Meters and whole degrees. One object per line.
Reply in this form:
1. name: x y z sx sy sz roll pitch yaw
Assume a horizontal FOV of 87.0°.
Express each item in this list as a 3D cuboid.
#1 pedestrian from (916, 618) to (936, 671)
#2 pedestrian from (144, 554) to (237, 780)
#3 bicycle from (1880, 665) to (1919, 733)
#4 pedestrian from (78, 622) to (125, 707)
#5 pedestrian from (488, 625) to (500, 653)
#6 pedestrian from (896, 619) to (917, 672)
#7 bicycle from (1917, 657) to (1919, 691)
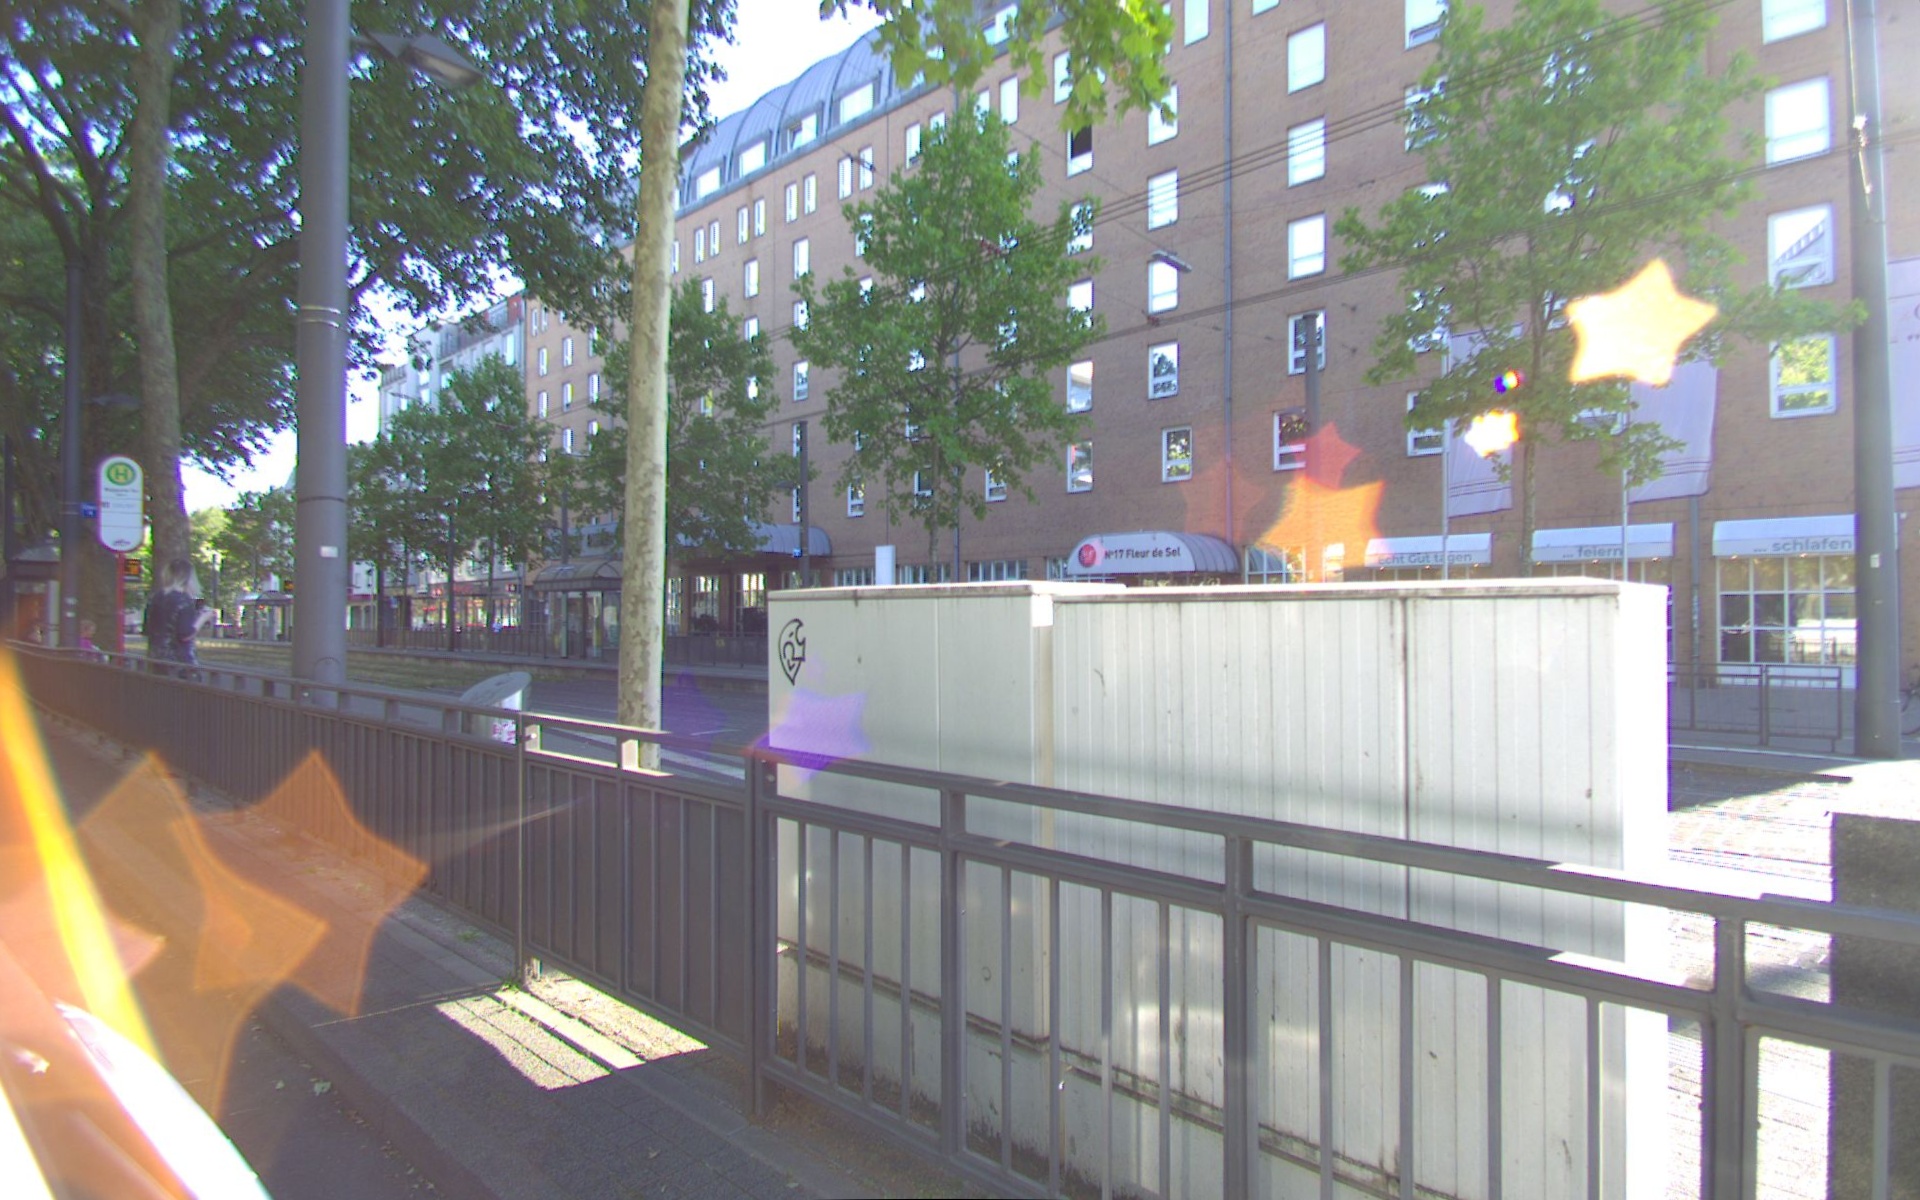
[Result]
1. pedestrian: -1.142 1.486 33.902 0.437 1.748 0.545 1 -2 -42
2. pedestrian: -6.585 0.548 8.658 0.524 1.848 0.536 -1 0 43
3. bicycle: 15.243 1.509 15.284 1.897 1.006 0.647 -1 -2 34
4. pedestrian: -13.849 1.024 16.329 0.534 1.327 0.525 -1 0 -37
5. pedestrian: -29.038 2.438 63.060 0.574 1.748 0.497 -2 -2 43
6. pedestrian: -1.760 1.495 33.394 0.472 1.748 0.545 1 -2 -42
7. bicycle: 15.217 1.375 14.442 2.105 1.151 0.679 -4 -4 34
